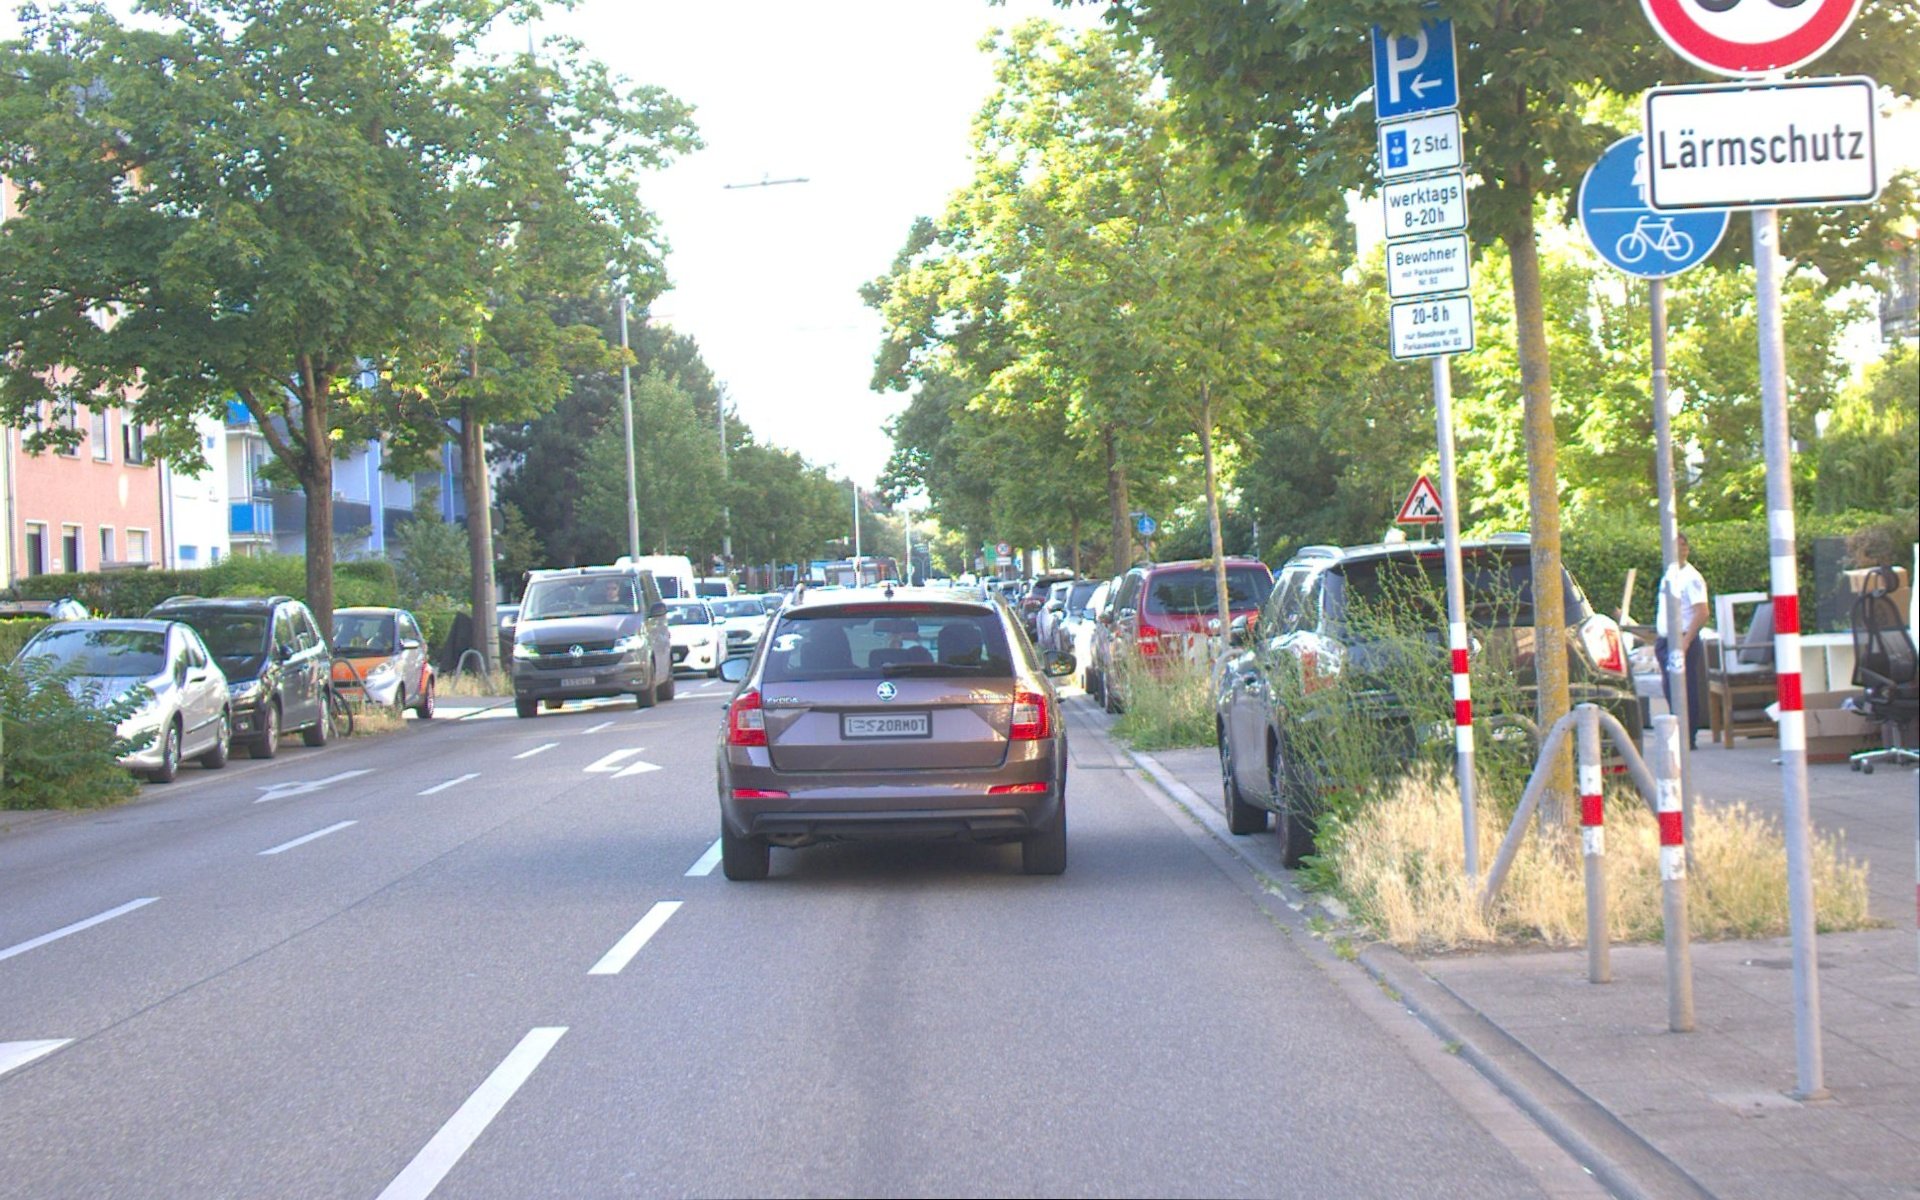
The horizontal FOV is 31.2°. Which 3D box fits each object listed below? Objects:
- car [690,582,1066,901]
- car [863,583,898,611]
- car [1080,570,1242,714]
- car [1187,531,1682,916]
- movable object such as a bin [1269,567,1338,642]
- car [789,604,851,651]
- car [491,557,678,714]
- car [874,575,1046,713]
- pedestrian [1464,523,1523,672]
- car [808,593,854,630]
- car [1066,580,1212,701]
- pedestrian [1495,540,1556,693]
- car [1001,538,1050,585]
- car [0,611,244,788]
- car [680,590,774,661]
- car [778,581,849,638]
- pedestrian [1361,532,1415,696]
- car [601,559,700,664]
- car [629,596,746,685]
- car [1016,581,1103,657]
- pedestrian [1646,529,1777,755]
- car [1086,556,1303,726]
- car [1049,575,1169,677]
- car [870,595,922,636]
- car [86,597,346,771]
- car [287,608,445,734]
[{"bbox_3d":[-0.335,0.657,18.160,1.754,1.487,4.000,0,0,1],"label":"car"},{"bbox_3d":[-5.270,-0.180,227.313,1.993,1.744,4.001,-2,0,-5],"label":"car"},{"bbox_3d":[2.379,0.474,41.499,1.636,1.563,4.000,-3,0,0],"label":"car"},{"bbox_3d":[2.252,0.544,17.361,1.792,1.626,4.029,-3,0,-1],"label":"car"},{"bbox_3d":[7.284,0.092,72.808,1.267,1.487,1.139,-4,0,10],"label":"movable object such as a bin"},{"bbox_3d":[-4.759,0.936,117.358,1.700,1.465,4.294,-3,0,2],"label":"car"},{"bbox_3d":[-5.164,0.467,47.885,1.993,1.939,4.777,-4,0,0],"label":"car"},{"bbox_3d":[-0.024,0.526,40.548,1.892,1.501,3.790,2,-1,-1],"label":"car"},{"bbox_3d":[6.116,-0.030,39.410,0.510,1.691,0.527,-2,0,-5],"label":"pedestrian"},{"bbox_3d":[-5.654,0.500,150.541,1.879,1.538,4.267,-2,0,-3],"label":"car"},{"bbox_3d":[2.395,0.526,46.897,1.636,1.485,4.415,-3,0,-1],"label":"car"},{"bbox_3d":[6.335,0.185,38.500,0.510,1.691,0.527,-2,0,-5],"label":"pedestrian"},{"bbox_3d":[2.437,-1.404,126.277,1.754,1.681,4.252,0,0,1],"label":"car"},{"bbox_3d":[-8.118,0.906,33.014,1.682,1.516,4.191,-2,0,-2],"label":"car"},{"bbox_3d":[-5.448,0.581,80.695,1.832,1.465,4.452,-5,0,-1],"label":"car"},{"bbox_3d":[-3.940,0.243,93.049,1.700,1.399,4.028,-4,0,-1],"label":"car"},{"bbox_3d":[4.895,0.157,39.311,0.548,1.843,0.764,-2,0,7],"label":"pedestrian"},{"bbox_3d":[-8.049,0.276,89.922,1.993,2.607,7.105,-1,0,-1],"label":"car"},{"bbox_3d":[-4.976,0.720,63.153,1.816,1.441,4.110,-4,0,-1],"label":"car"},{"bbox_3d":[2.199,0.415,77.036,1.718,1.595,4.096,-2,0,-1],"label":"car"},{"bbox_3d":[5.344,0.296,24.460,0.555,1.562,0.748,-2,0,-18],"label":"pedestrian"},{"bbox_3d":[2.435,0.409,36.687,1.721,1.650,4.598,-2,0,-3],"label":"car"},{"bbox_3d":[2.514,0.416,59.113,1.874,1.576,4.820,-3,0,1],"label":"car"},{"bbox_3d":[-2.402,0.580,127.843,1.781,1.475,3.971,-1,0,-3],"label":"car"},{"bbox_3d":[-8.124,0.867,37.938,1.784,1.727,4.617,-2,0,0],"label":"car"},{"bbox_3d":[-8.111,0.950,47.105,1.499,1.611,2.861,-2,0,3],"label":"car"}]
